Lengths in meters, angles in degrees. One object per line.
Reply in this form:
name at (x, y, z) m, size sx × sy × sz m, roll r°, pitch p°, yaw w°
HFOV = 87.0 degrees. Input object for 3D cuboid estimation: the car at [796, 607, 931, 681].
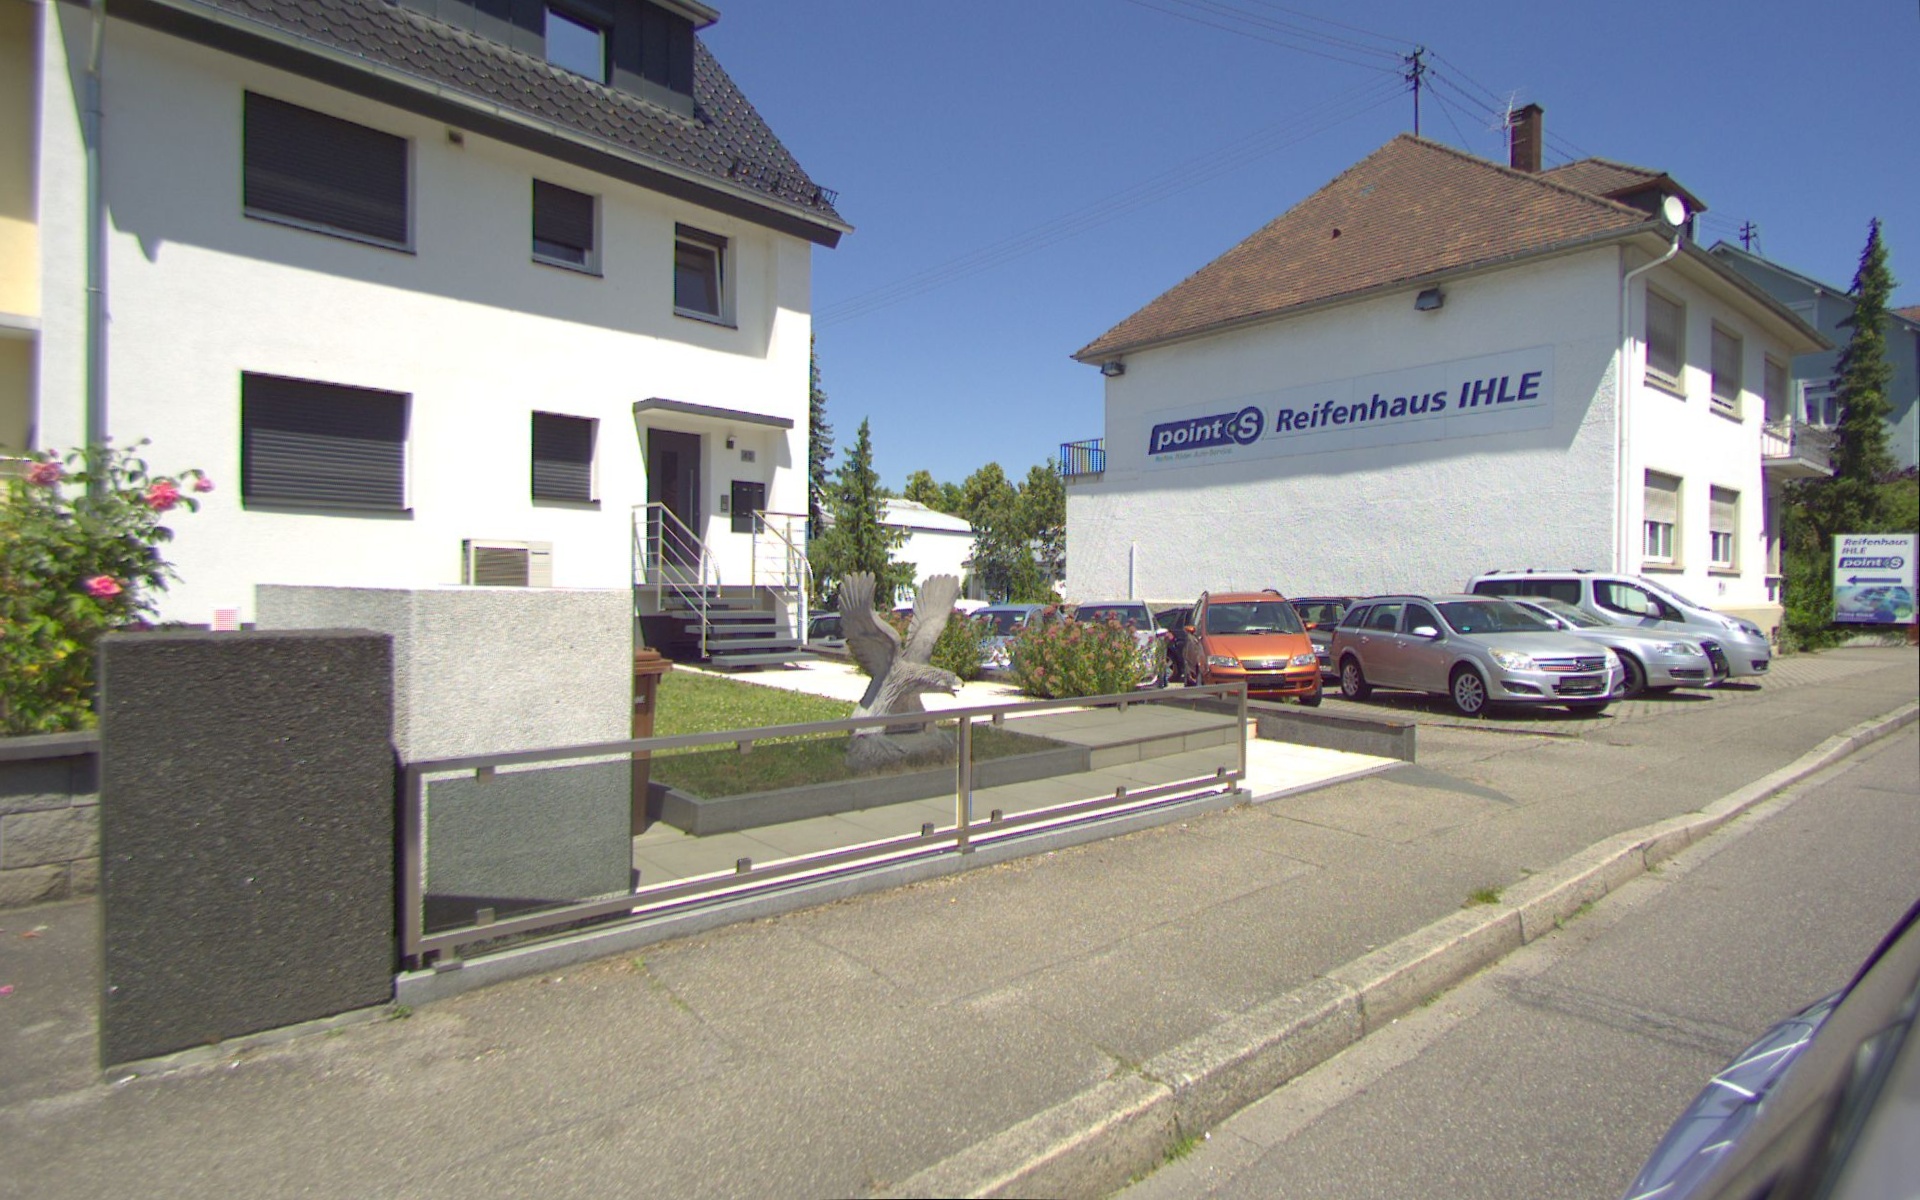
car at (-2.168, 0.986, 23.561) m, size 1.539 × 1.551 × 3.531 m, roll -4°, pitch -3°, yaw 25°

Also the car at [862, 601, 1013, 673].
car at (-0.678, 0.973, 27.853) m, size 1.967 × 1.817 × 3.990 m, roll -1°, pitch -1°, yaw -43°

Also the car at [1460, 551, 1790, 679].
car at (10.821, 0.301, 16.687) m, size 4.287 × 1.855 × 1.712 m, roll -3°, pitch -3°, yaw 43°

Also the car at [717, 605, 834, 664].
car at (-6.142, 1.103, 33.421) m, size 1.967 × 1.817 × 3.990 m, roll -1°, pitch -1°, yaw -43°

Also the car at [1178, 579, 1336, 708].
car at (4.378, 0.599, 15.506) m, size 1.611 × 1.663 × 4.294 m, roll -2°, pitch -1°, yaw 7°

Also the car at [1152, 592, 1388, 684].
car at (5.686, 0.656, 19.059) m, size 1.960 × 1.505 × 4.004 m, roll -1°, pitch 0°, yaw -29°

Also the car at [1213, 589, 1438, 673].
car at (7.322, 0.586, 20.687) m, size 1.960 × 1.505 × 4.004 m, roll -1°, pitch 0°, yaw -29°

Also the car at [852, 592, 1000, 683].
car at (-0.617, 0.776, 21.559) m, size 1.607 × 1.747 × 3.811 m, roll -2°, pitch -2°, yaw 25°

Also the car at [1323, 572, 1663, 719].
car at (6.669, 0.535, 13.324) m, size 1.721 × 1.567 × 4.309 m, roll -2°, pitch -1°, yaw -7°

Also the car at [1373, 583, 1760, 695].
car at (8.862, 0.582, 15.209) m, size 1.736 × 1.427 × 4.650 m, roll 0°, pitch -2°, yaw -38°

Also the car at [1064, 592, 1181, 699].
car at (2.757, 0.712, 17.314) m, size 1.685 × 1.582 × 4.108 m, roll -2°, pitch -1°, yaw 9°

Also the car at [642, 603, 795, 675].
car at (-6.154, 0.971, 26.195) m, size 1.758 × 1.700 × 3.915 m, roll -1°, pitch -2°, yaw 27°

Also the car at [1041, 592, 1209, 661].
car at (3.909, 0.603, 24.609) m, size 1.960 × 1.505 × 4.004 m, roll -1°, pitch 0°, yaw -29°

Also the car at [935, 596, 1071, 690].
car at (0.916, 0.762, 19.297) m, size 1.603 × 1.582 × 3.751 m, roll -2°, pitch -1°, yaw 18°
